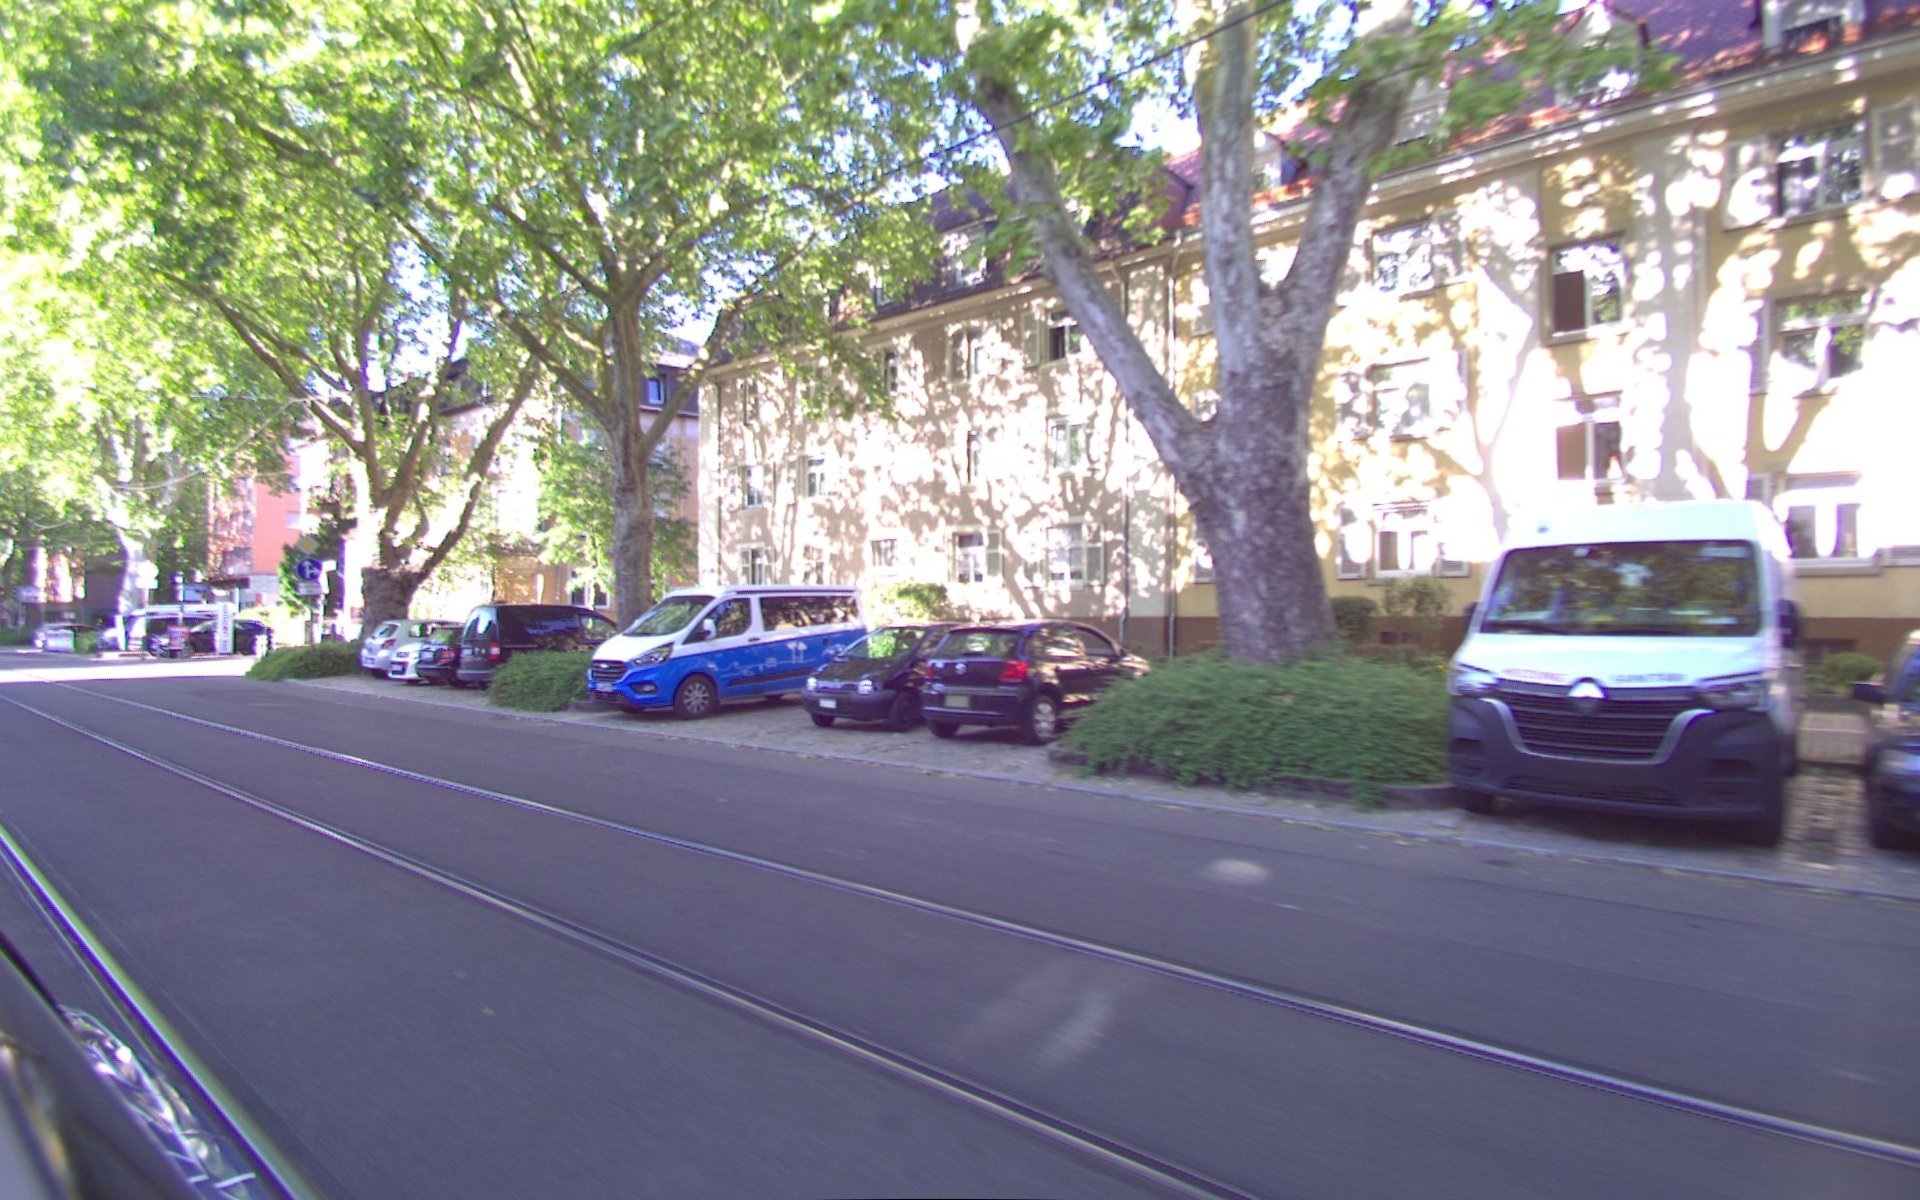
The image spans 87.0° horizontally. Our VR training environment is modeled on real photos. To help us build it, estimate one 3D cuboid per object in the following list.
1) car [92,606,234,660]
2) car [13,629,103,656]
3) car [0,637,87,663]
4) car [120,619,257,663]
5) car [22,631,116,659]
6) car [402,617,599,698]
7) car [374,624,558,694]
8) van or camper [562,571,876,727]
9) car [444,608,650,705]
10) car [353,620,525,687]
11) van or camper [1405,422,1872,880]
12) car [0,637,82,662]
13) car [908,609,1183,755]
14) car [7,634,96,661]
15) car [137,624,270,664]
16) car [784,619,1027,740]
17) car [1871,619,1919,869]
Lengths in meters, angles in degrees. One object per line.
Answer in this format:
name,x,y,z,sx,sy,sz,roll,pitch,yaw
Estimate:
car,-37.565,1.514,47.817,2.026,2.416,4.955,-2,-2,39
car,-55.051,2.578,61.811,1.809,1.527,3.916,-2,-2,40
car,-58.327,3.172,64.427,1.809,1.527,3.916,-2,-2,40
car,-33.290,1.733,43.779,2.026,1.779,4.408,-2,-2,40
car,-52.413,2.612,59.572,1.809,1.527,3.916,-2,-2,40
car,-10.274,1.230,22.830,1.796,1.636,3.649,-1,-1,36
car,-11.790,1.358,24.349,1.698,1.497,3.651,-1,-1,35
van or camper,-3.837,0.729,16.847,2.118,2.206,4.770,-2,-1,40
car,-8.570,1.103,21.213,1.703,1.828,3.644,-2,-1,41
car,-13.427,1.337,26.194,3.638,1.565,1.705,0,-1,-43
van or camper,5.884,0.312,8.430,2.444,2.535,5.332,-2,-1,42
car,-60.096,3.226,66.143,1.809,1.527,3.916,-2,-2,40
car,1.196,0.915,12.922,1.613,1.577,3.642,-2,-1,43
car,-56.578,2.958,63.075,1.809,1.527,3.916,-2,-2,40
car,-31.327,1.788,41.991,1.924,1.527,4.118,-2,-2,40
car,-0.669,1.033,14.525,1.692,1.471,3.499,-1,-1,35
car,7.368,0.849,6.814,1.752,1.409,4.219,-2,-2,41
